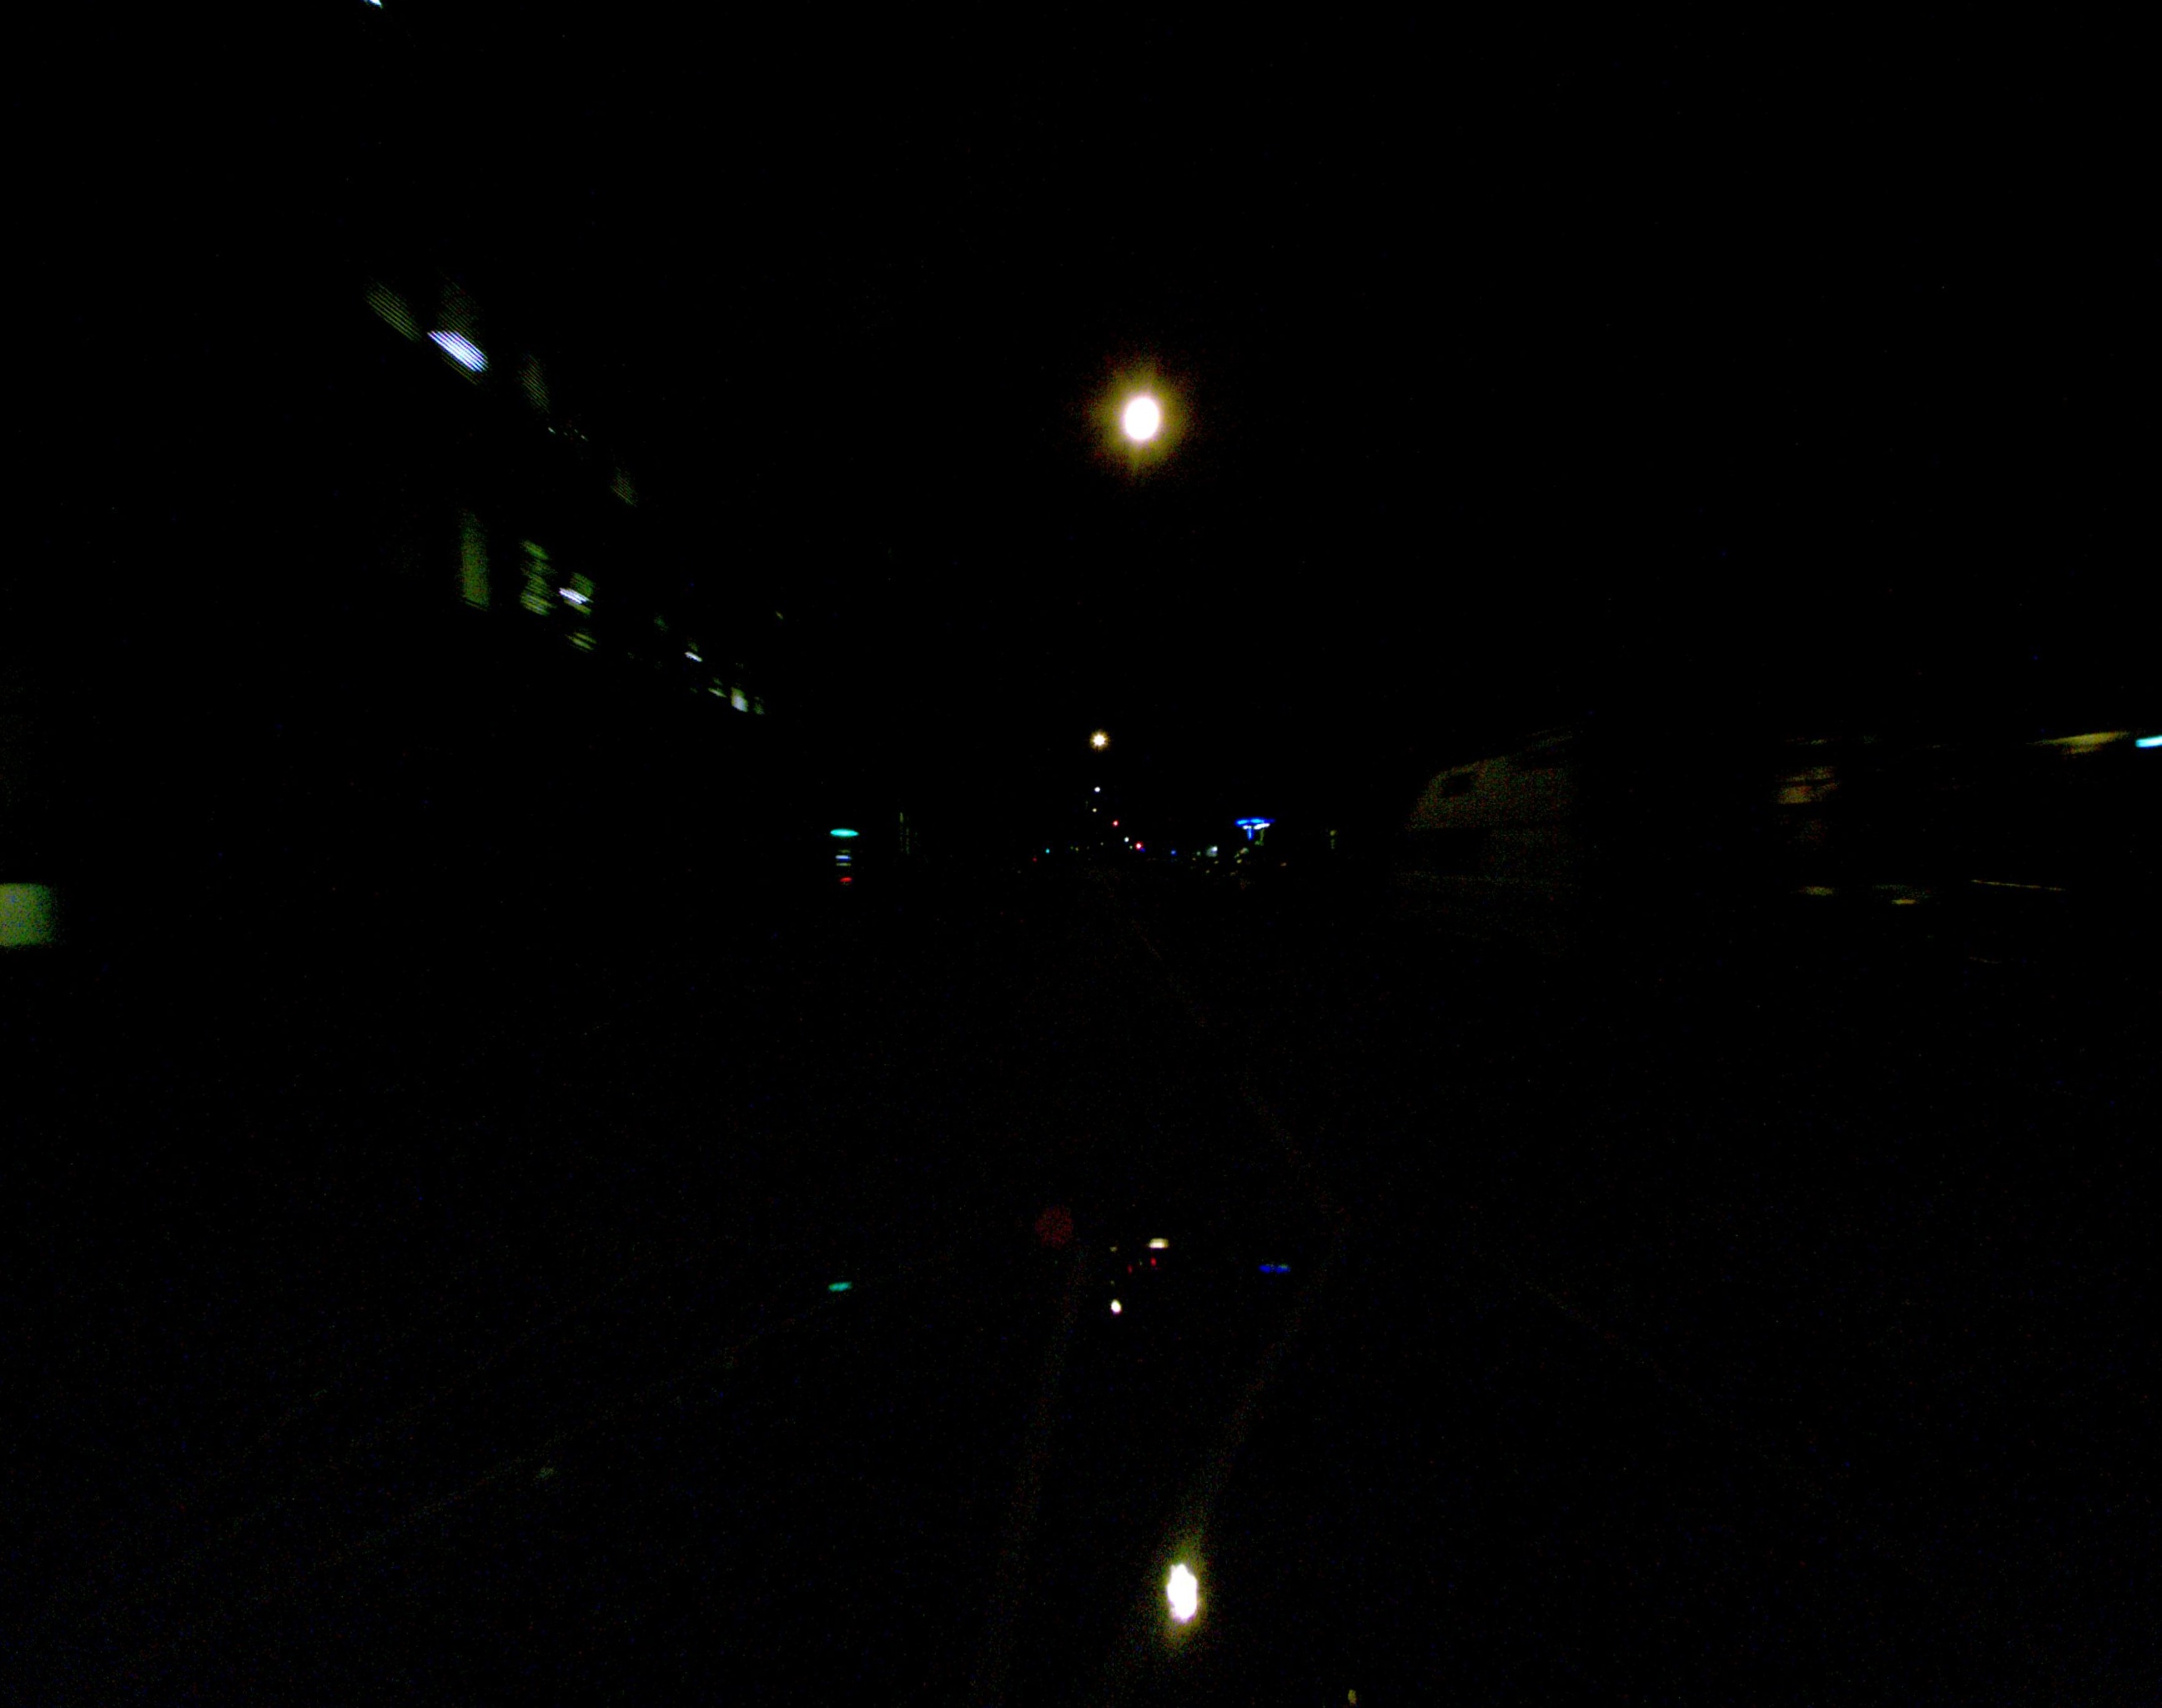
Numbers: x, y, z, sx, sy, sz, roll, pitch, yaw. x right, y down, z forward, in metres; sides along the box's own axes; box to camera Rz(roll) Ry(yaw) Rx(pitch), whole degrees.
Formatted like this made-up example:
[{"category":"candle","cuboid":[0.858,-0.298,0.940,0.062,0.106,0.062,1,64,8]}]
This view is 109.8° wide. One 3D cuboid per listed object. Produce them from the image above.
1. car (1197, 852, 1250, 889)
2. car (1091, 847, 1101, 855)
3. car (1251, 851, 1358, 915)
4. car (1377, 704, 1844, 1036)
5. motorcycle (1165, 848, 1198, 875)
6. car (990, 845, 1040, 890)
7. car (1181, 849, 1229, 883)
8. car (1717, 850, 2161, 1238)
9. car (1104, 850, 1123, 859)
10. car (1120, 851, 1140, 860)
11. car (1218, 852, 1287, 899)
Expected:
[{"category":"car","cuboid":[5.992,0.649,32.394,1.448,1.421,3.903,-3,0,0]},{"category":"car","cuboid":[3.194,-0.654,162.837,1.936,1.646,3.833,0,1,0]},{"category":"car","cuboid":[5.857,0.706,20.373,1.649,1.496,3.861,-2,0,0]},{"category":"car","cuboid":[5.694,0.135,9.233,2.184,2.892,4.909,-2,1,0]},{"category":"motorcycle","cuboid":[6.174,0.448,46.754,1.909,1.541,0.638,-3,1,-19]},{"category":"car","cuboid":[-2.963,0.577,35.136,1.956,1.953,4.602,0,0,-1]},{"category":"car","cuboid":[6.028,0.561,37.209,1.646,1.496,3.903,-3,0,0]},{"category":"car","cuboid":[5.573,0.837,3.548,1.746,1.597,4.115,-3,1,1]},{"category":"car","cuboid":[6.714,0.123,158.525,3.848,1.781,1.634,0,1,-3]},{"category":"car","cuboid":[9.595,0.297,148.350,3.763,1.577,1.634,0,1,-3]},{"category":"car","cuboid":[5.870,0.701,26.354,1.551,1.447,3.368,-2,0,0]}]
